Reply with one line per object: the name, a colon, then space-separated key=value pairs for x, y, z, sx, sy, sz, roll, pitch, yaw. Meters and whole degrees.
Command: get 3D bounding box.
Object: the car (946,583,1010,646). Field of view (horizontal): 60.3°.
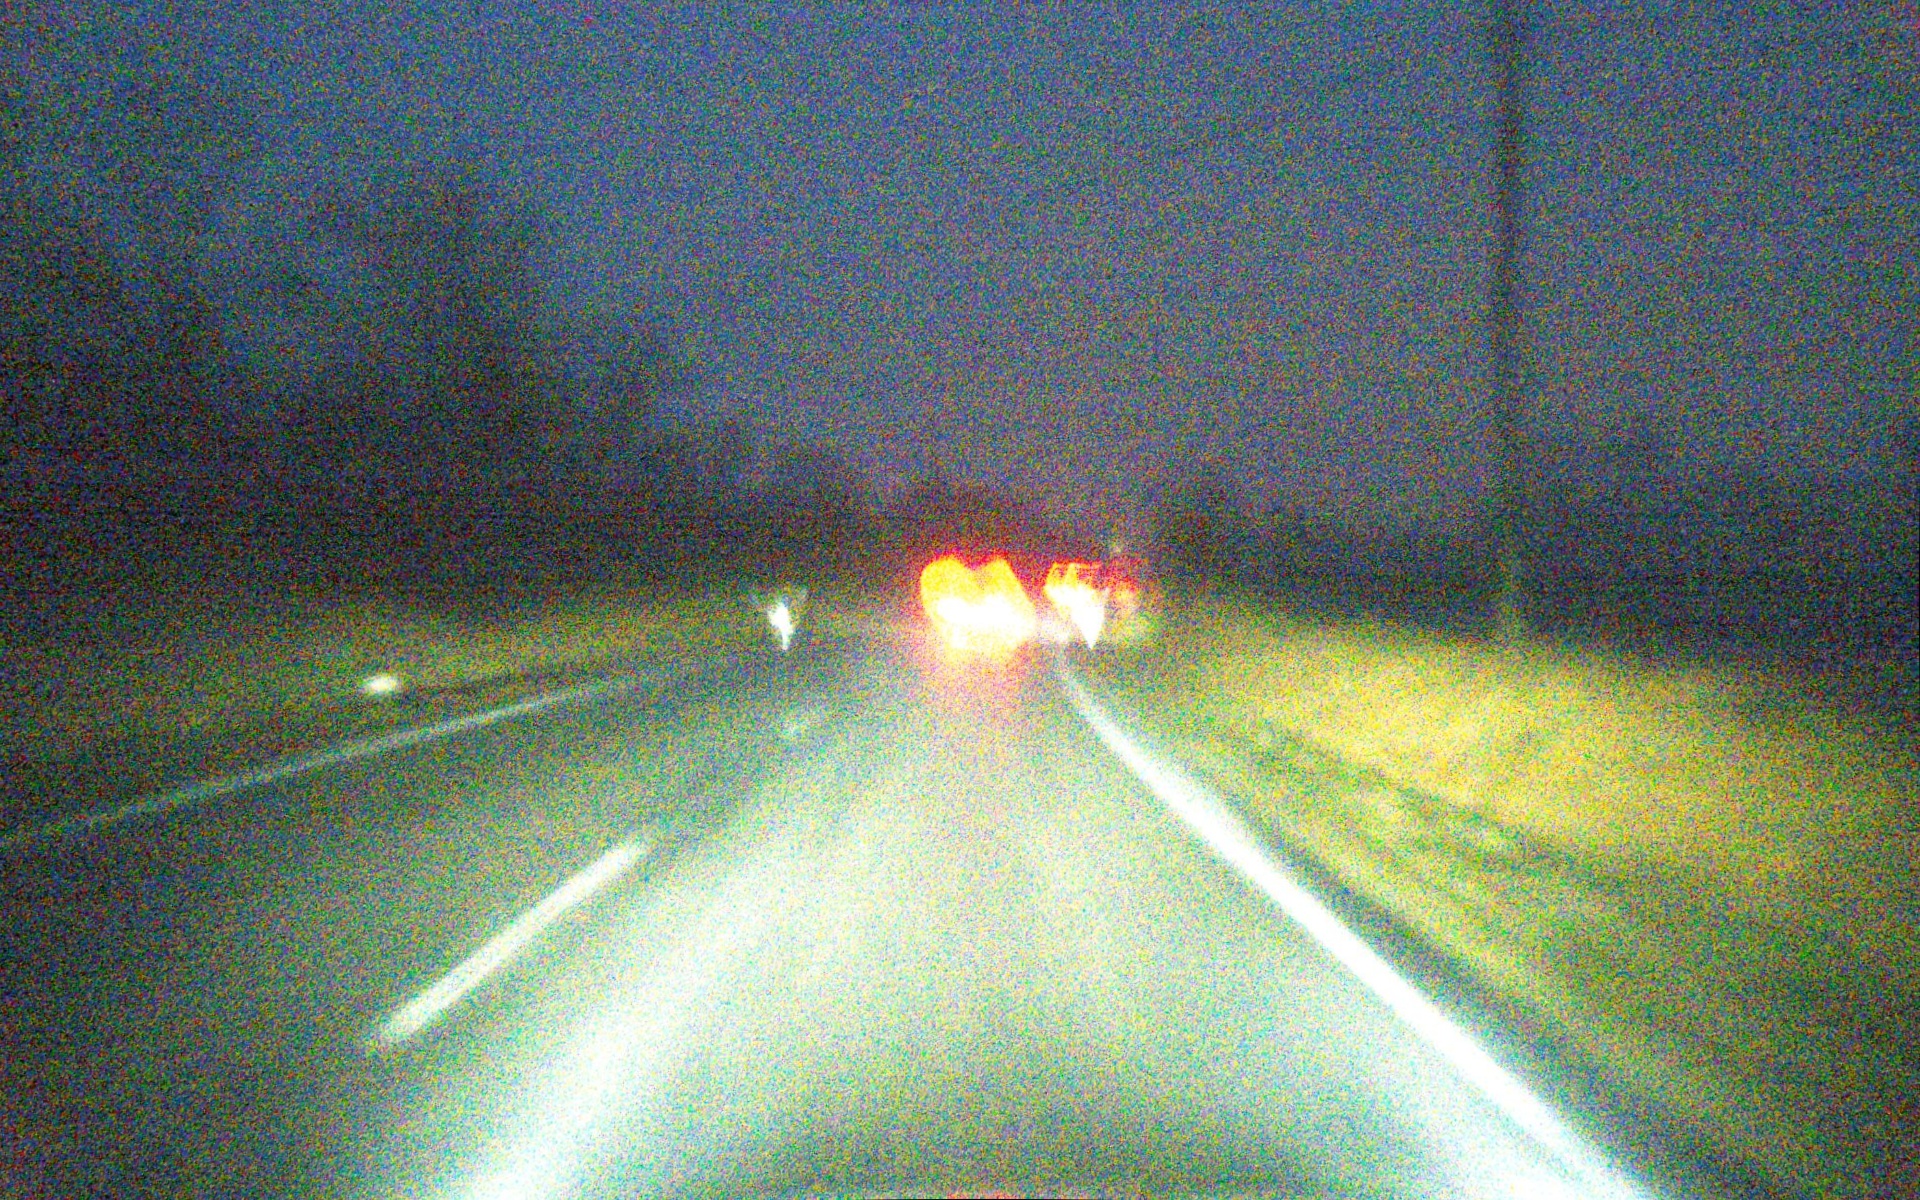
car: x=0.523 y=0.408 z=48.674 sx=1.804 sy=1.771 sz=4.000 roll=0 pitch=0 yaw=0
